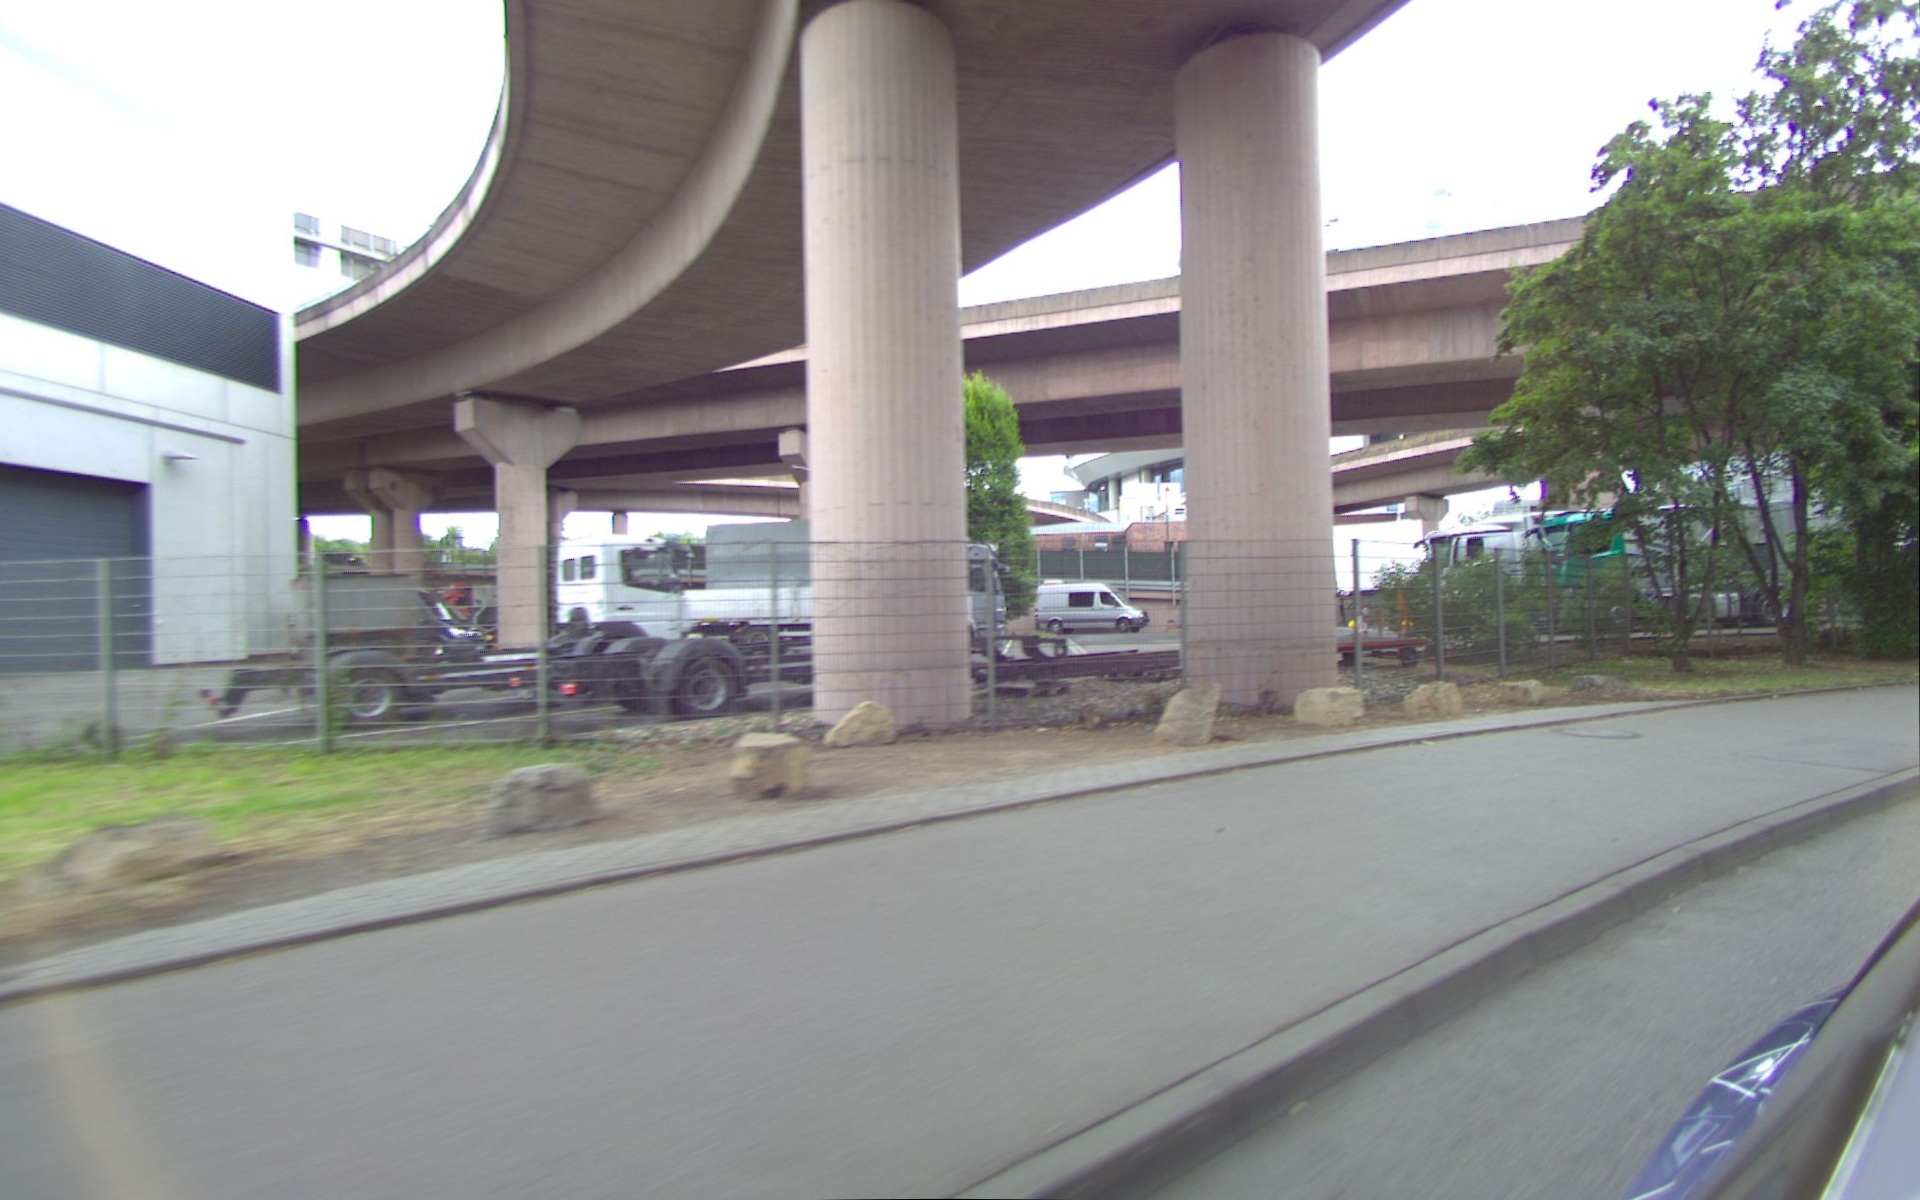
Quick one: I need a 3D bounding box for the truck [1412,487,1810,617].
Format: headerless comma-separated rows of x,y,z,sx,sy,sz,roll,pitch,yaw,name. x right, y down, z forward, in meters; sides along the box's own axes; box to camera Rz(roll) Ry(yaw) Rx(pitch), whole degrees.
19.245,-1.379,30.402,10.035,3.542,2.268,-1,0,5,truck

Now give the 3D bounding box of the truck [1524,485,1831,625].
19.020,-1.140,27.147,6.304,3.451,2.266,-1,0,8,truck

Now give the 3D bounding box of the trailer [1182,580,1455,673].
6.005,0.379,16.935,4.291,1.348,1.609,-2,1,-22,trailer

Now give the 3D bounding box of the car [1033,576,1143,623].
6.540,0.023,51.645,5.105,2.239,2.318,-1,-1,24,car

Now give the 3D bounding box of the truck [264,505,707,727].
-7.393,0.201,16.152,6.007,2.923,2.457,-1,-1,-38,truck

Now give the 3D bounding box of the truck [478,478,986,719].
-2.993,-0.030,15.006,7.115,2.779,2.419,-1,-1,-43,truck

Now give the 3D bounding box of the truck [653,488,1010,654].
-3.551,-0.753,30.083,9.954,4.422,3.908,-1,-1,4,truck

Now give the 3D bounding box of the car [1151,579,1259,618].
11.934,-0.036,49.334,4.819,1.728,2.078,-1,-1,24,car

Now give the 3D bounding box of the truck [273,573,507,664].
-20.047,0.669,35.822,6.812,2.970,3.043,-1,-1,8,truck
